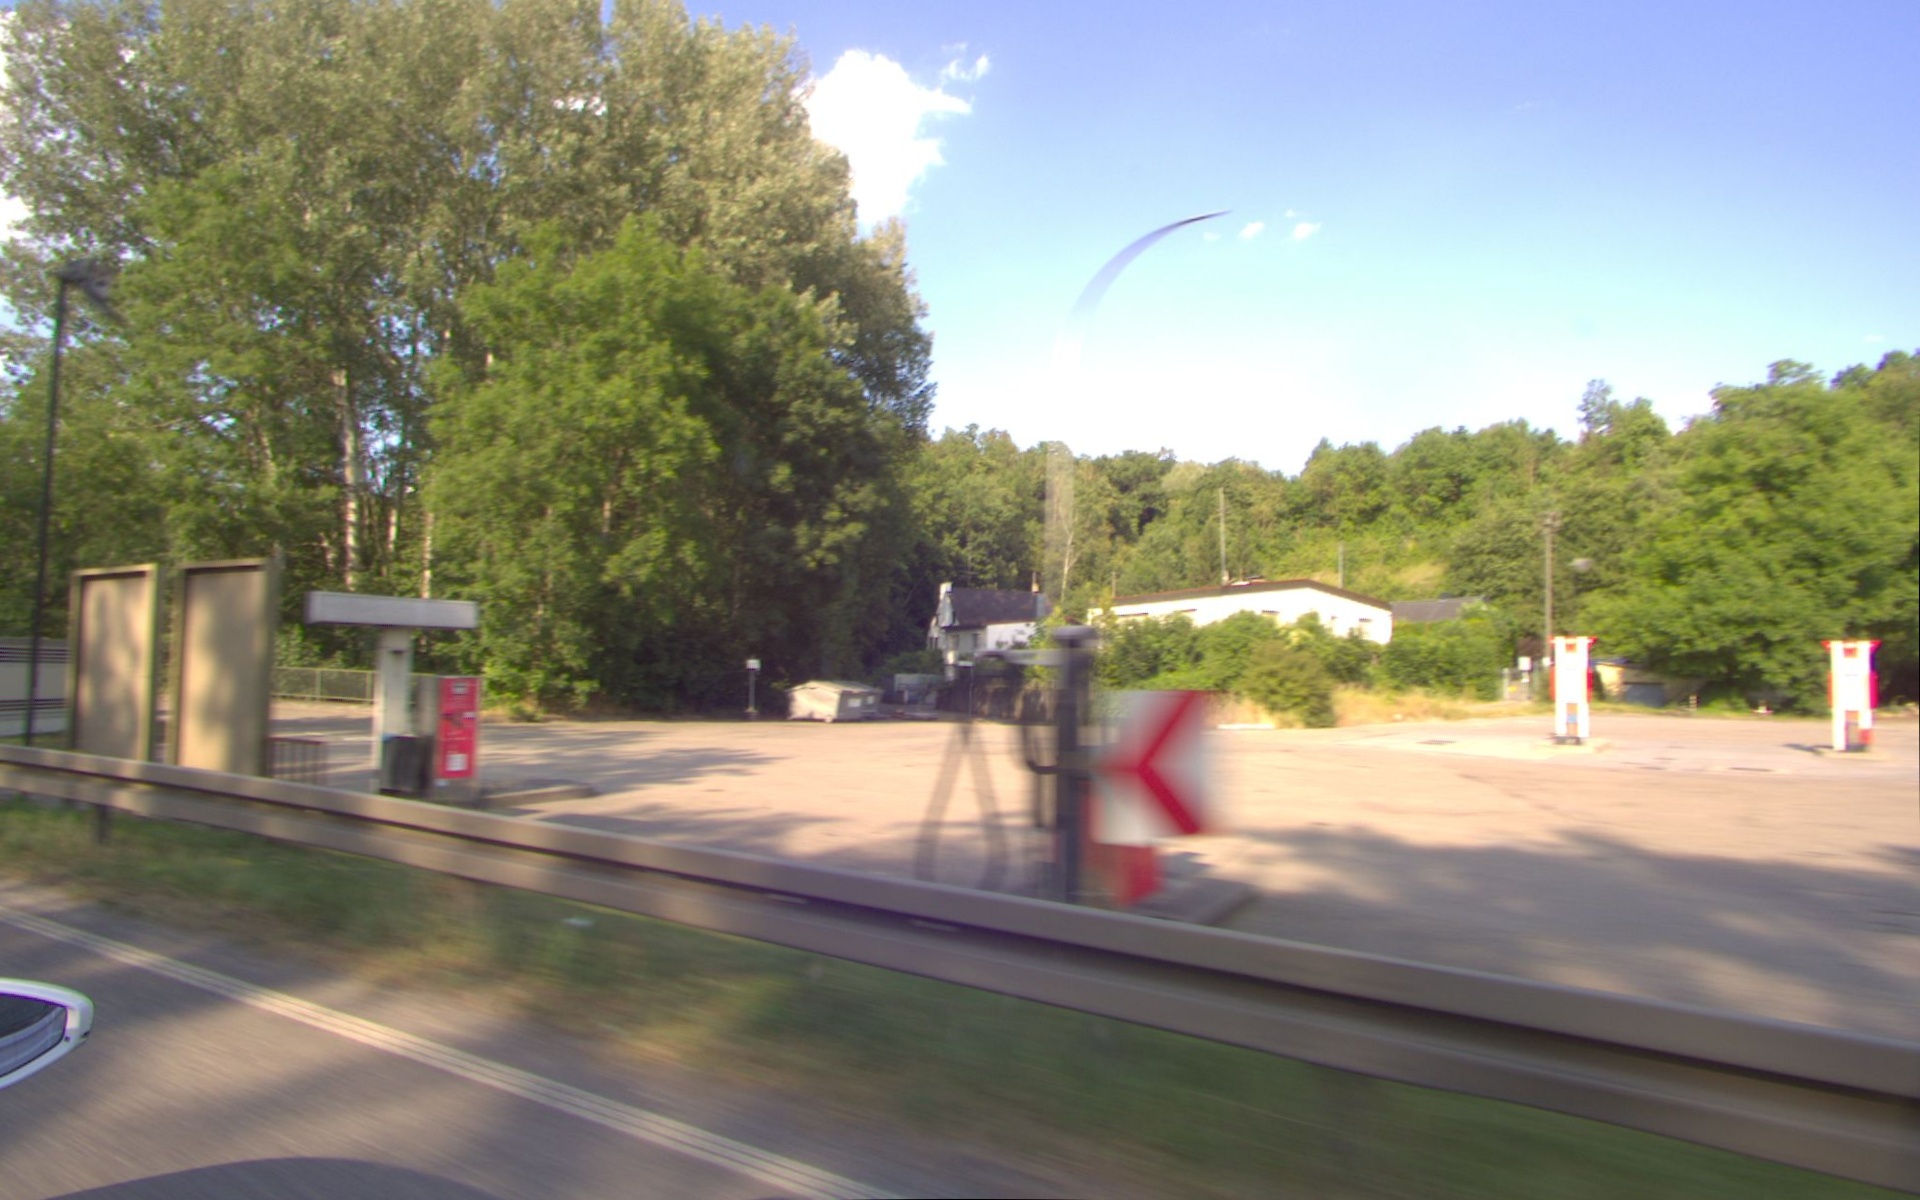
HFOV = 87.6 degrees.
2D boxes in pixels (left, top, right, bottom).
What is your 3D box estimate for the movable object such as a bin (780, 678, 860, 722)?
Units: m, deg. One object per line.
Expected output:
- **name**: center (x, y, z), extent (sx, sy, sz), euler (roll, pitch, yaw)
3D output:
- **movable object such as a bin**: center (-5.036, 3.606, 36.130), extent (2.515, 1.436, 1.268), euler (0, -6, 25)
